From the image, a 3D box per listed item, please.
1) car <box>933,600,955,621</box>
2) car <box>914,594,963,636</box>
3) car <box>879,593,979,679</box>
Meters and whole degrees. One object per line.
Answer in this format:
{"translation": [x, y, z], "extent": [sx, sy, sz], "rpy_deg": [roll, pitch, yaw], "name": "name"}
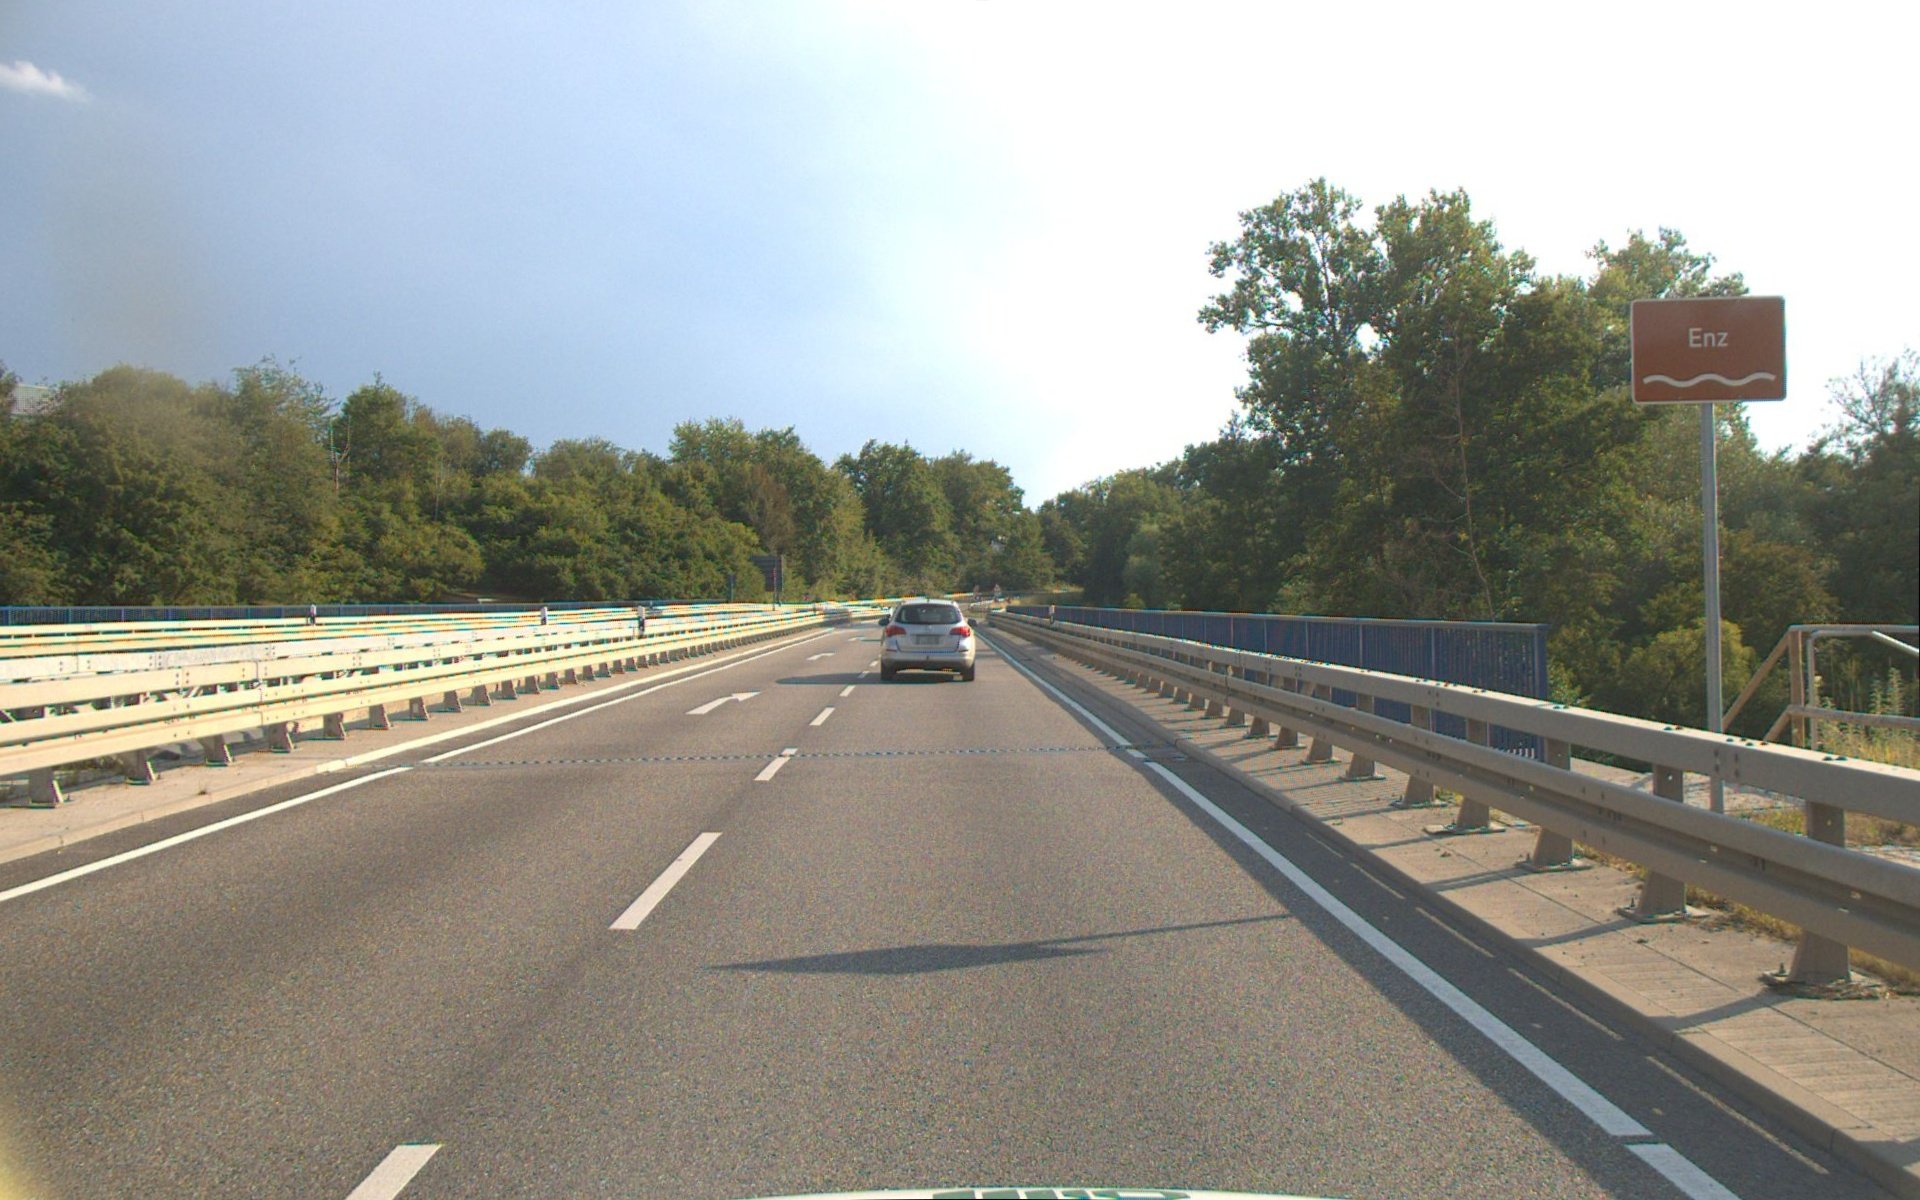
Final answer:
{"translation": [-1.584, 1.072, 164.929], "extent": [1.952, 2.049, 4.000], "rpy_deg": [1, -1, 1], "name": "car"}
{"translation": [-0.829, 0.562, 62.739], "extent": [1.772, 1.512, 3.998], "rpy_deg": [1, -1, -2], "name": "car"}
{"translation": [-0.603, 0.667, 31.666], "extent": [1.772, 1.512, 3.998], "rpy_deg": [1, -1, -2], "name": "car"}
